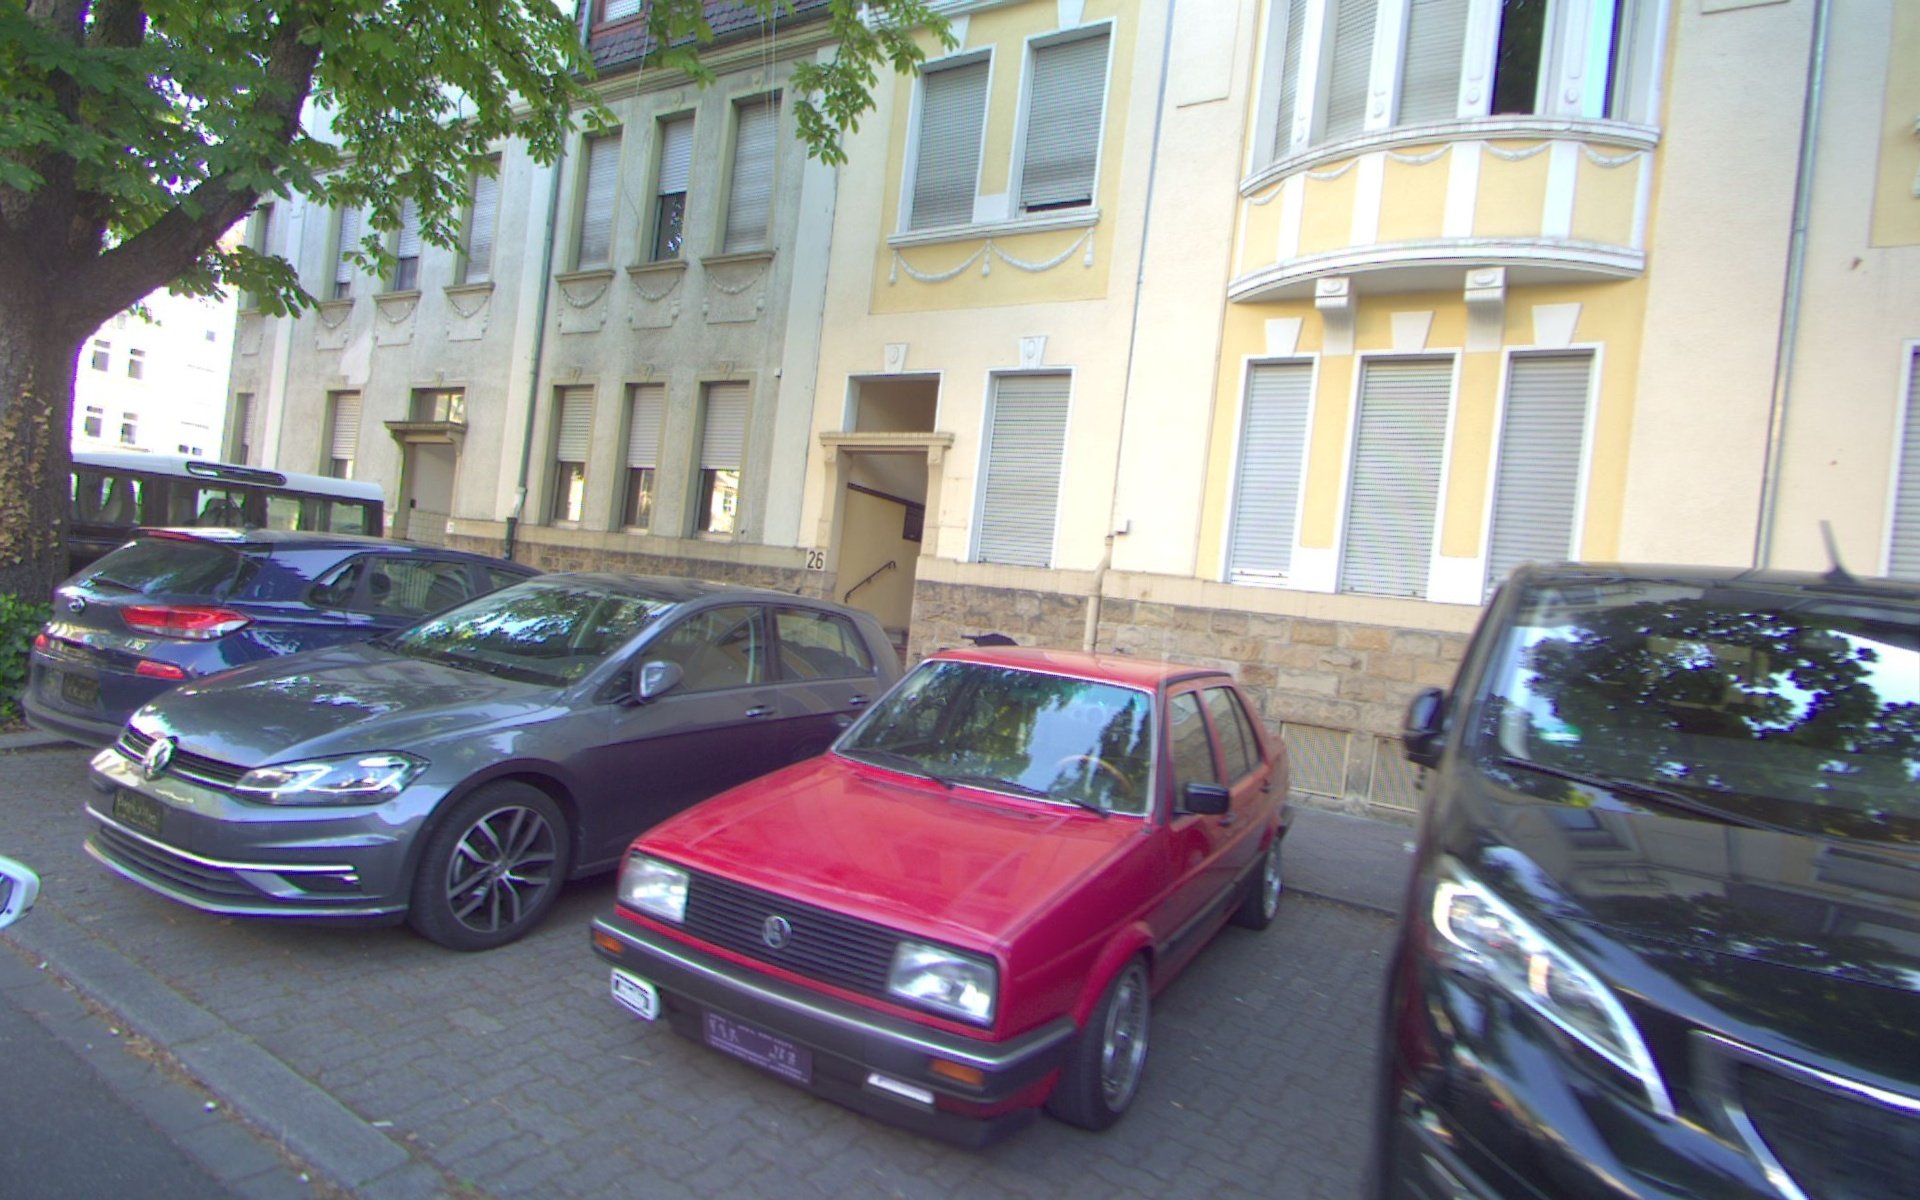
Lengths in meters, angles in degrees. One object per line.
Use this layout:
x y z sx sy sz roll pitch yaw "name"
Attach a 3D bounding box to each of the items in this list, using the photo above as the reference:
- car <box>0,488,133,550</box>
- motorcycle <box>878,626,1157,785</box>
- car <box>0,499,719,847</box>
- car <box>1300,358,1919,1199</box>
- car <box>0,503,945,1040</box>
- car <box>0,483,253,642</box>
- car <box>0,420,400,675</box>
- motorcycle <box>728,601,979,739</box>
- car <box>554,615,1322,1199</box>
-28.207 -2.533 31.112 1.488 1.467 3.697 7 -1 23 "car"
0.515 0.938 9.671 2.439 1.087 0.959 7 2 32 "motorcycle"
-3.526 0.385 6.473 1.679 1.470 3.730 6 0 28 "car"
2.413 0.827 3.154 1.864 1.898 4.759 6 0 27 "car"
-1.855 0.572 5.082 1.693 1.470 4.060 6 0 28 "car"
-10.427 -0.458 11.208 1.679 1.589 3.730 6 0 28 "car"
-8.032 -0.435 9.507 1.671 2.061 4.473 6 0 28 "car"
-1.230 0.713 11.060 2.822 1.087 0.694 7 2 31 "motorcycle"
0.460 0.900 4.550 1.601 1.332 4.144 6 0 27 "car"
